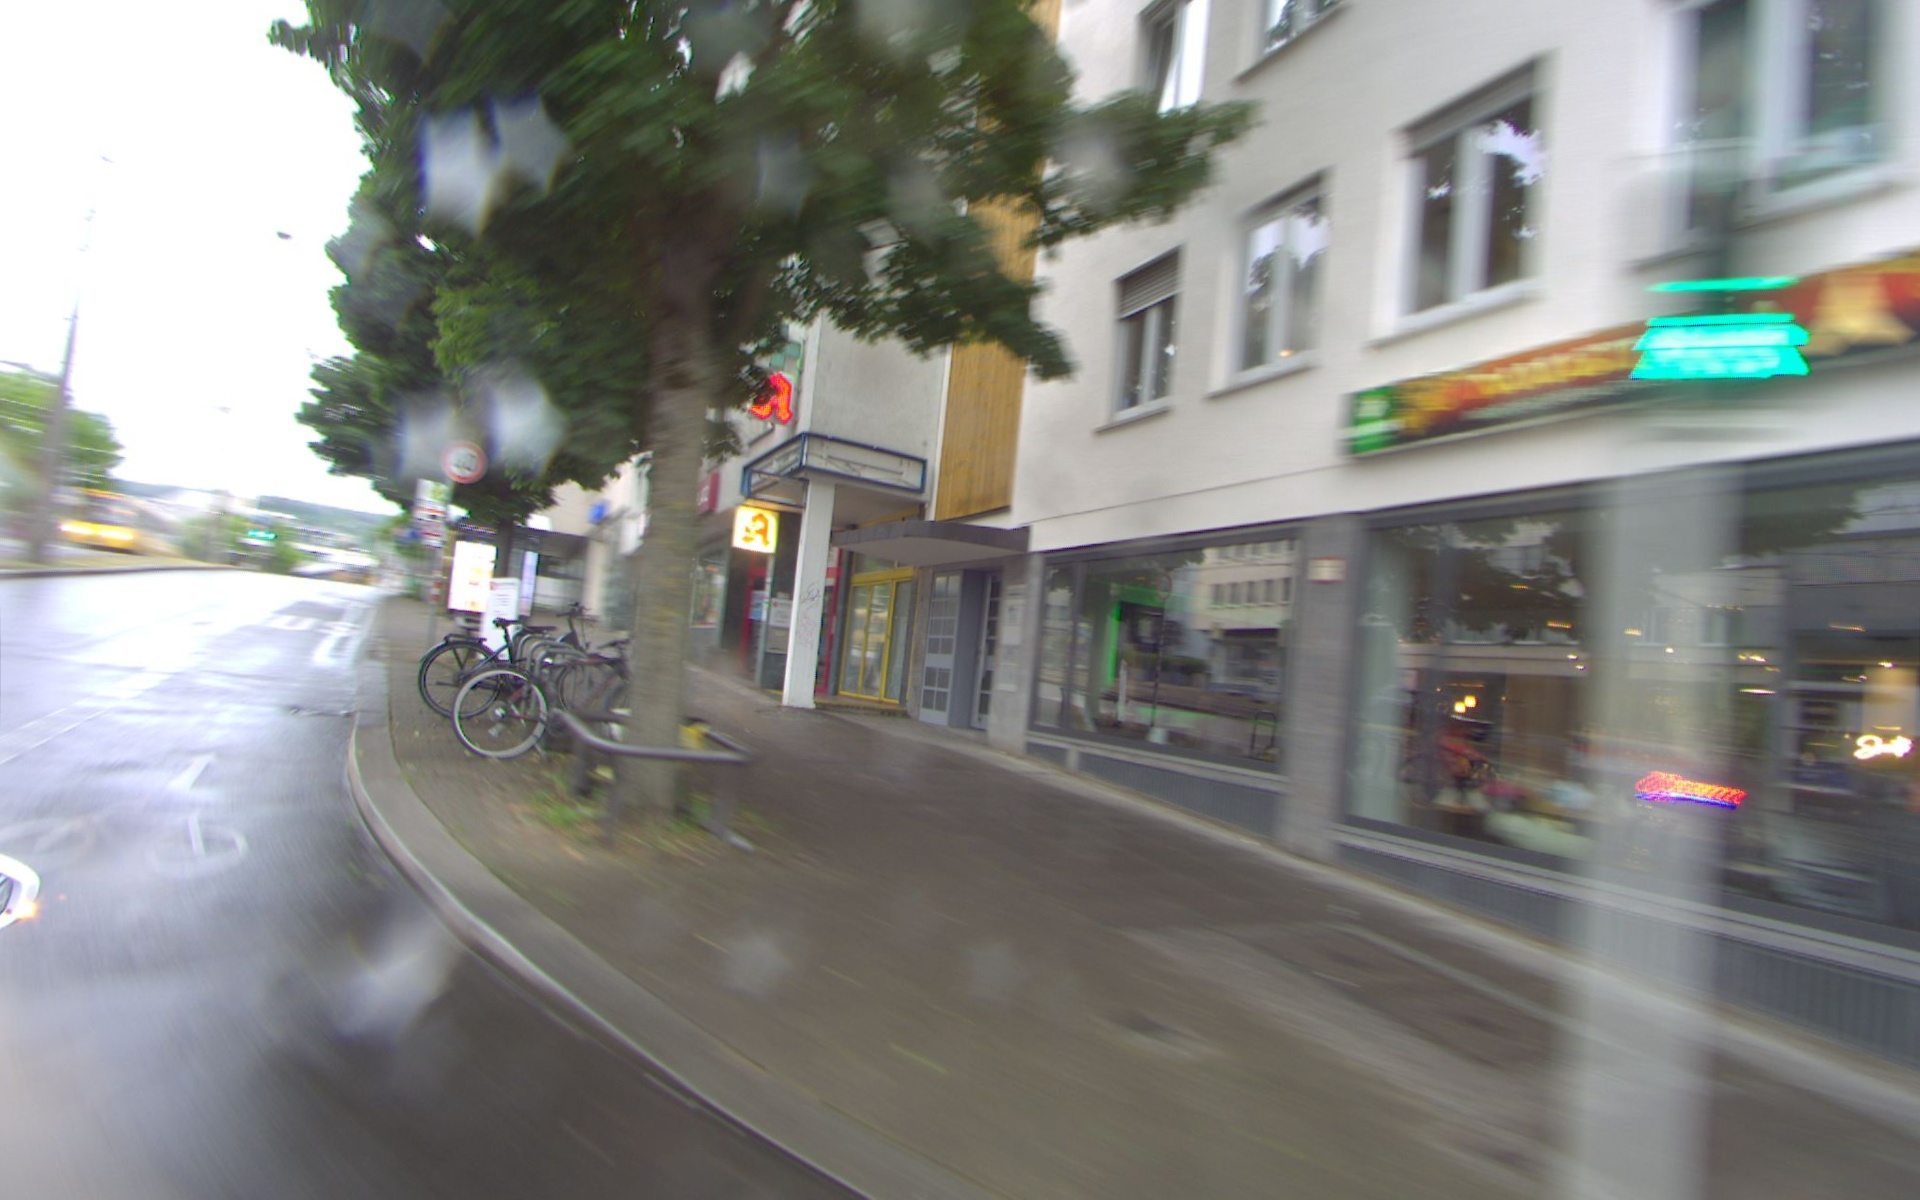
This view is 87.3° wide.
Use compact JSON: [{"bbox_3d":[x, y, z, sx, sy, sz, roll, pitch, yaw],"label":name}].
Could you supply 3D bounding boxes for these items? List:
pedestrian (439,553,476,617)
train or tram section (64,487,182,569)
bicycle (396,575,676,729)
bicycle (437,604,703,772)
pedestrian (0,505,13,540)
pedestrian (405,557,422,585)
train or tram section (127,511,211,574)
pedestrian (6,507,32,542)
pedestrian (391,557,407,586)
[{"bbox_3d":[-13.954,-0.419,27.918,0.660,1.645,0.960,8,-2,-30],"label":"pedestrian"},{"bbox_3d":[-52.958,-4.231,64.295,2.728,3.736,18.830,9,-4,-31],"label":"train or tram section"},{"bbox_3d":[-4.011,0.524,9.647,2.296,1.187,0.645,8,-3,-27],"label":"bicycle"},{"bbox_3d":[-3.078,0.712,8.009,1.801,1.105,0.645,8,-1,-27],"label":"bicycle"},{"bbox_3d":[-51.472,-4.172,53.927,0.727,1.812,0.691,7,-1,-32],"label":"pedestrian"},{"bbox_3d":[-37.234,-1.971,68.537,0.695,1.806,1.058,8,-2,-33],"label":"pedestrian"},{"bbox_3d":[-62.775,-4.289,80.322,2.728,3.736,18.830,9,-4,-31],"label":"train or tram section"},{"bbox_3d":[-50.832,-4.073,54.355,0.727,1.812,0.691,7,-1,-32],"label":"pedestrian"},{"bbox_3d":[-37.866,-1.941,67.938,0.695,1.836,0.968,8,-2,-33],"label":"pedestrian"}]
